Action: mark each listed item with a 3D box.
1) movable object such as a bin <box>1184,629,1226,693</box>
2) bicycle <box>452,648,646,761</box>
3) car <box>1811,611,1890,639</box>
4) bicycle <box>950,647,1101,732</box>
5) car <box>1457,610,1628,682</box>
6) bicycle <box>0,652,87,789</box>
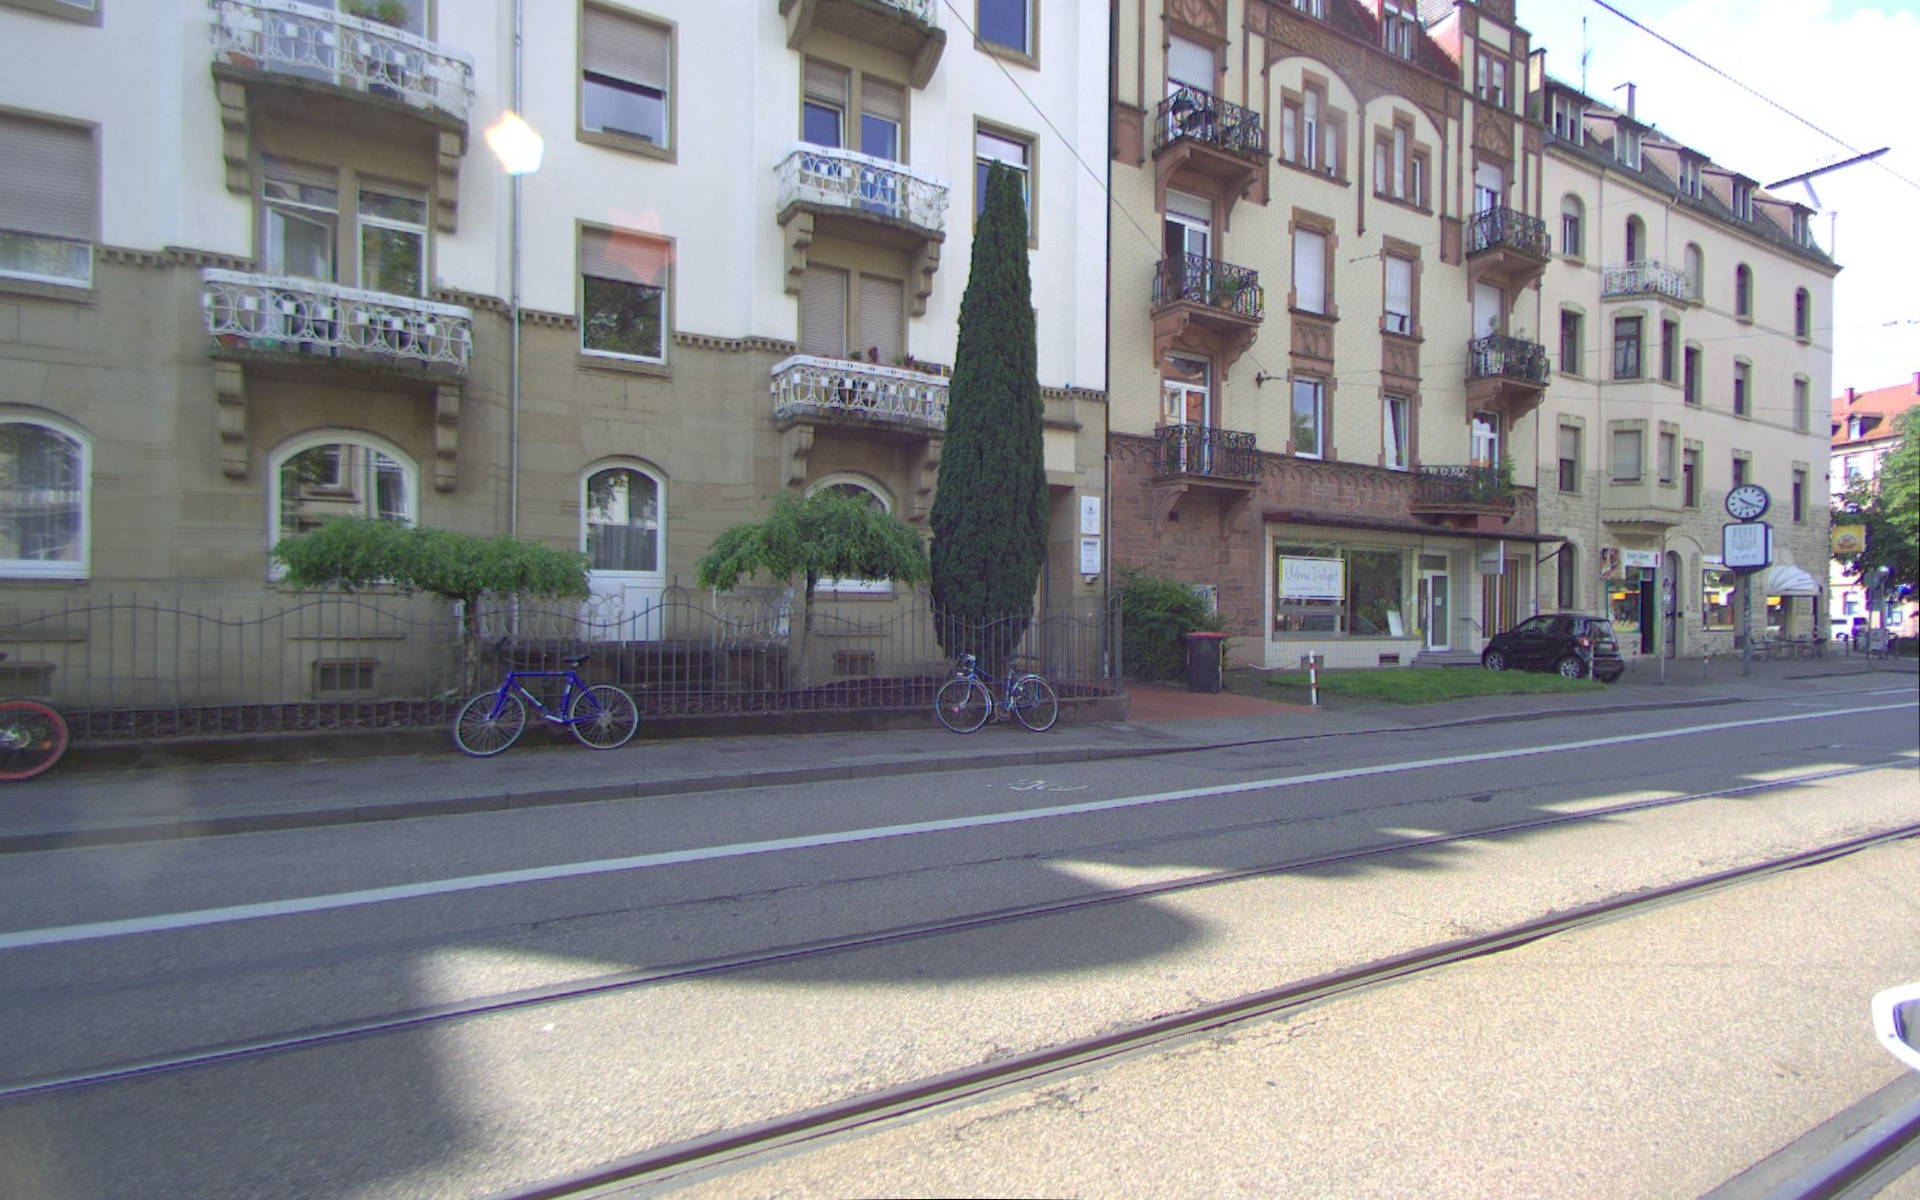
[{"bbox_3d":[4.408,1.091,18.124,0.595,1.084,0.597,2,2,3],"label":"movable object such as a bin"},{"bbox_3d":[-3.933,0.973,9.661,1.685,0.972,0.424,1,1,-29],"label":"bicycle"},{"bbox_3d":[70.102,2.001,79.144,1.970,2.039,4.116,0,-4,-20],"label":"car"},{"bbox_3d":[0.815,1.108,12.432,1.790,0.972,0.510,3,2,-24],"label":"bicycle"},{"bbox_3d":[14.174,1.065,24.593,1.657,1.533,3.224,1,1,-27],"label":"car"},{"bbox_3d":[-7.661,0.904,7.421,1.779,0.988,0.381,1,1,-29],"label":"bicycle"}]
